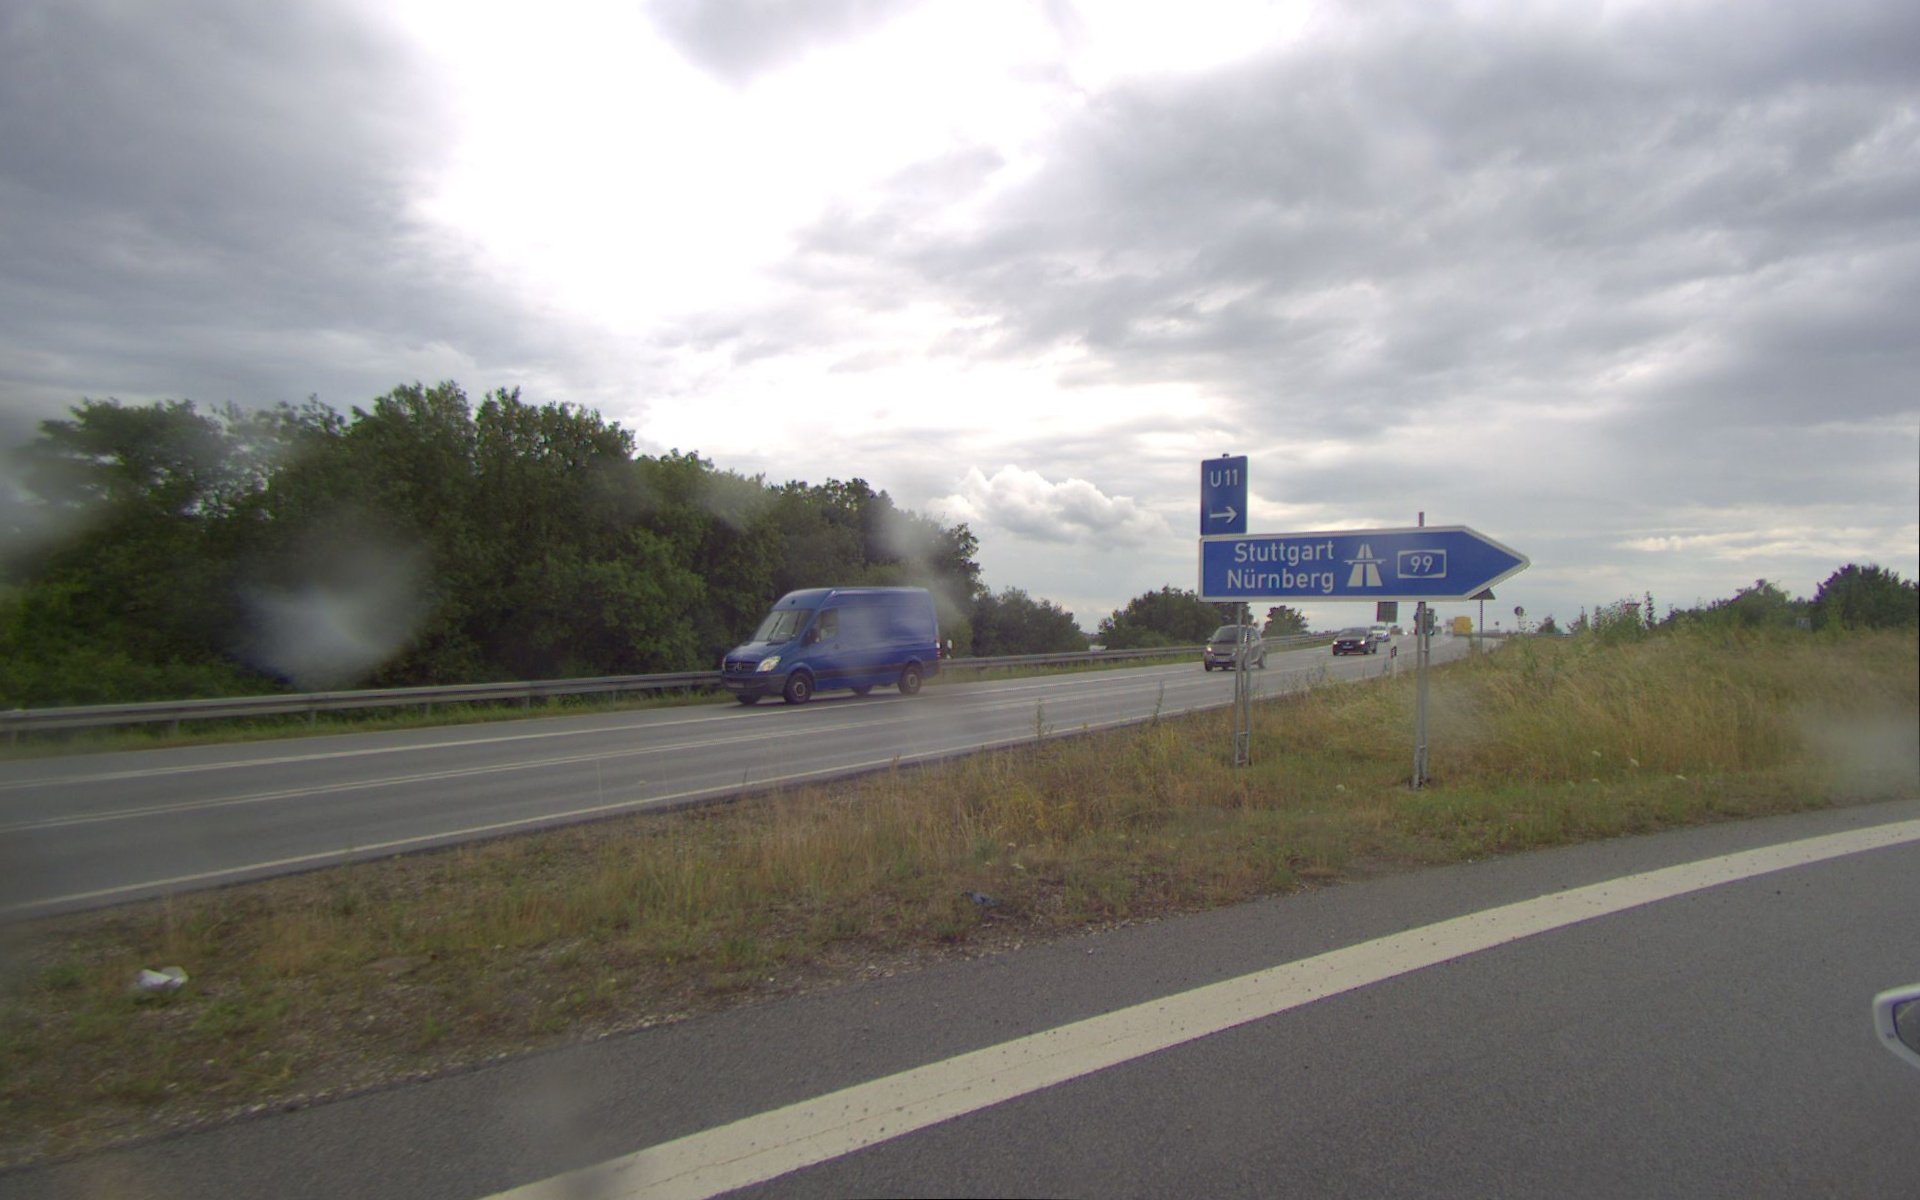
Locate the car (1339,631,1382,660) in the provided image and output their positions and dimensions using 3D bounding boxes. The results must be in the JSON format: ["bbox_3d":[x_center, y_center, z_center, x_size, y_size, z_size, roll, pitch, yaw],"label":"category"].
[{"bbox_3d":[21.152,2.360,52.966,1.454,1.368,3.706,1,0,32],"label":"car"}]

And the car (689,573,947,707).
[{"bbox_3d":[-3.144,0.933,23.851,2.298,2.761,6.257,-1,-2,38],"label":"car"}]

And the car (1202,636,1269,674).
[{"bbox_3d":[9.792,1.933,35.636,1.411,1.192,3.126,1,0,33],"label":"car"}]
